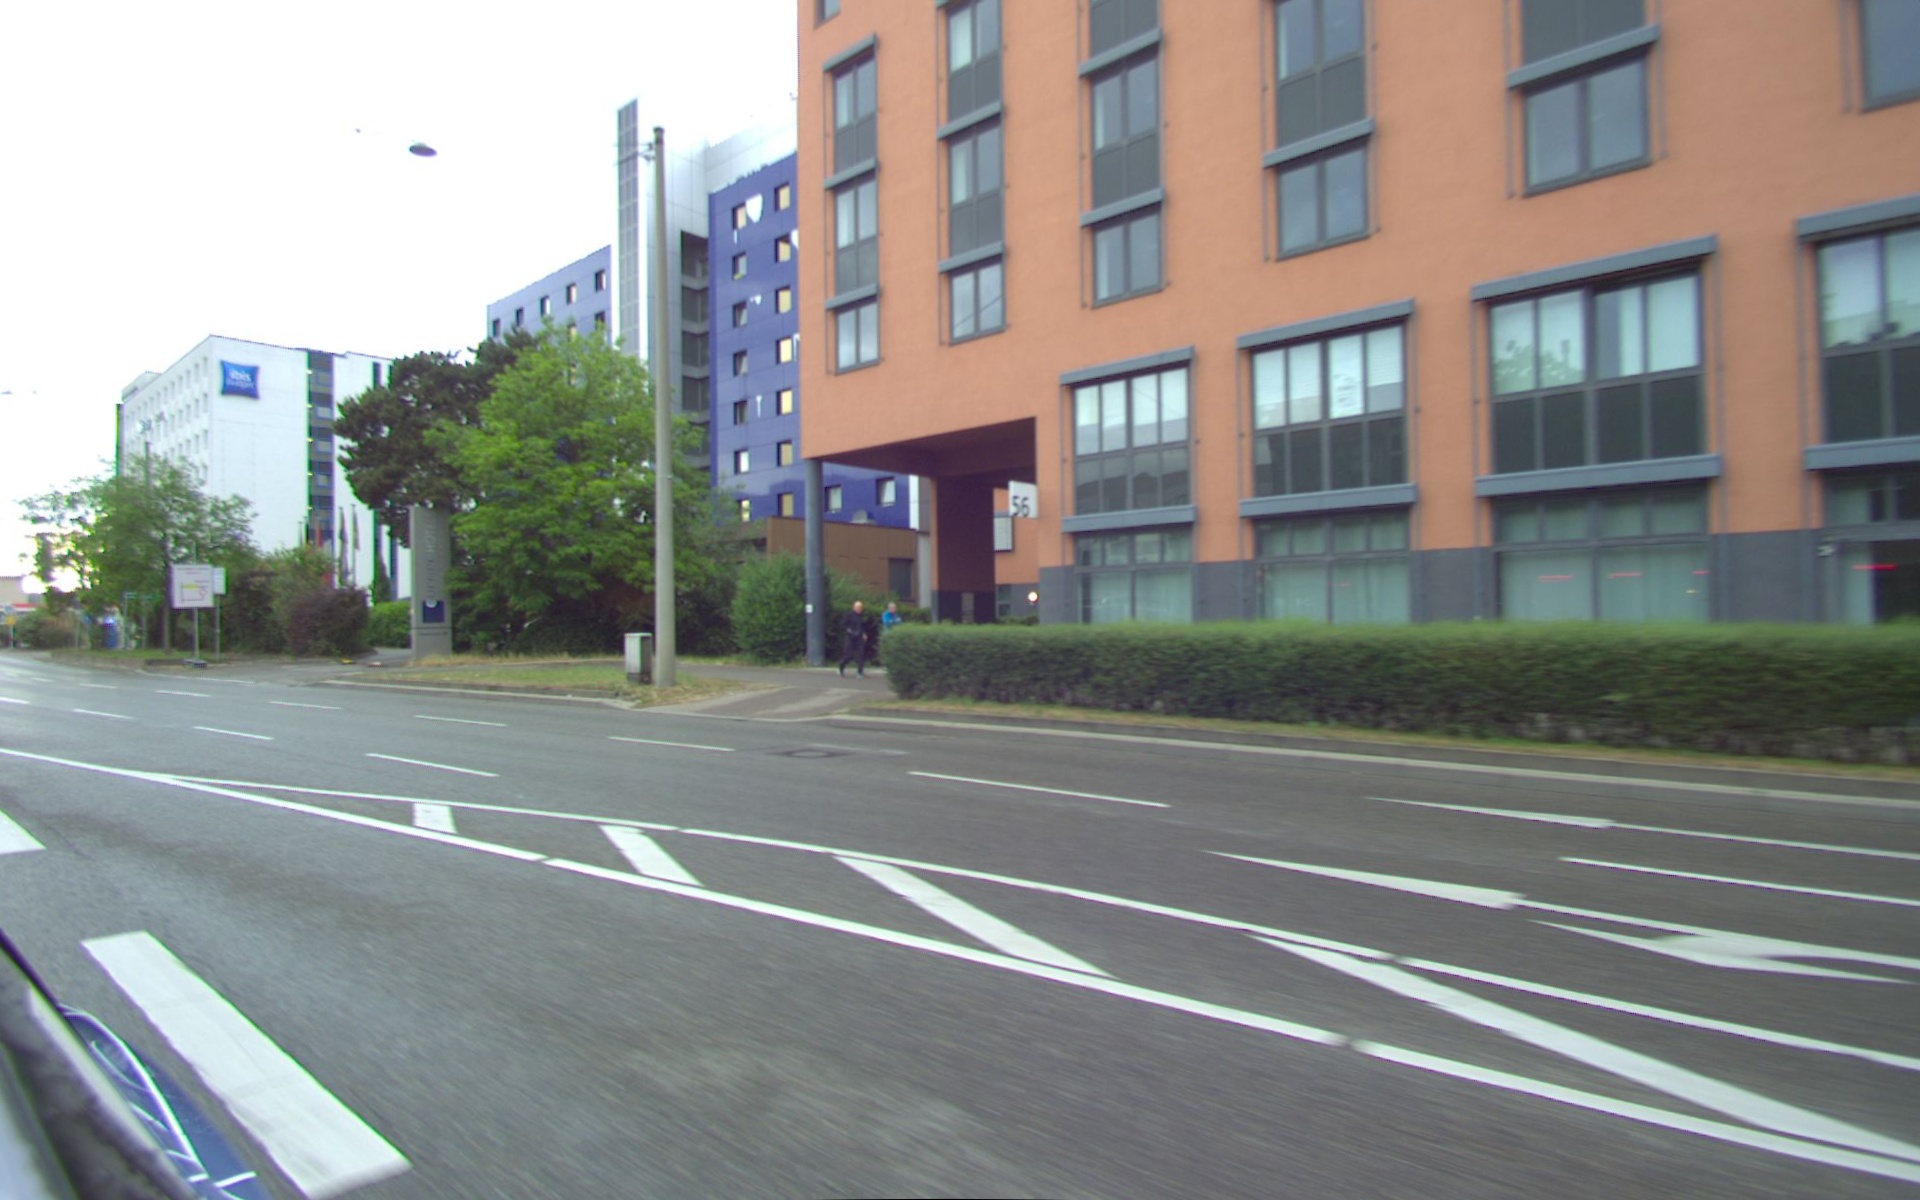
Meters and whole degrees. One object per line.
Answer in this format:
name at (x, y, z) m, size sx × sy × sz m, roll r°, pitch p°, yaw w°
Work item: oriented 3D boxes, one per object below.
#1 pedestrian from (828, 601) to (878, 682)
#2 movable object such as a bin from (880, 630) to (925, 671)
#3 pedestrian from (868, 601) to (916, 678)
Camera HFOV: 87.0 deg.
pedestrian at (-2.529, 0.959, 23.895) m, size 0.885 × 1.855 × 0.738 m, roll -2°, pitch -1°, yaw 41°
movable object such as a bin at (-1.848, 1.599, 32.381) m, size 1.208 × 1.257 × 0.772 m, roll -2°, pitch -2°, yaw 38°
pedestrian at (-1.675, 0.959, 24.830) m, size 0.885 × 1.855 × 0.738 m, roll -2°, pitch -1°, yaw 41°
